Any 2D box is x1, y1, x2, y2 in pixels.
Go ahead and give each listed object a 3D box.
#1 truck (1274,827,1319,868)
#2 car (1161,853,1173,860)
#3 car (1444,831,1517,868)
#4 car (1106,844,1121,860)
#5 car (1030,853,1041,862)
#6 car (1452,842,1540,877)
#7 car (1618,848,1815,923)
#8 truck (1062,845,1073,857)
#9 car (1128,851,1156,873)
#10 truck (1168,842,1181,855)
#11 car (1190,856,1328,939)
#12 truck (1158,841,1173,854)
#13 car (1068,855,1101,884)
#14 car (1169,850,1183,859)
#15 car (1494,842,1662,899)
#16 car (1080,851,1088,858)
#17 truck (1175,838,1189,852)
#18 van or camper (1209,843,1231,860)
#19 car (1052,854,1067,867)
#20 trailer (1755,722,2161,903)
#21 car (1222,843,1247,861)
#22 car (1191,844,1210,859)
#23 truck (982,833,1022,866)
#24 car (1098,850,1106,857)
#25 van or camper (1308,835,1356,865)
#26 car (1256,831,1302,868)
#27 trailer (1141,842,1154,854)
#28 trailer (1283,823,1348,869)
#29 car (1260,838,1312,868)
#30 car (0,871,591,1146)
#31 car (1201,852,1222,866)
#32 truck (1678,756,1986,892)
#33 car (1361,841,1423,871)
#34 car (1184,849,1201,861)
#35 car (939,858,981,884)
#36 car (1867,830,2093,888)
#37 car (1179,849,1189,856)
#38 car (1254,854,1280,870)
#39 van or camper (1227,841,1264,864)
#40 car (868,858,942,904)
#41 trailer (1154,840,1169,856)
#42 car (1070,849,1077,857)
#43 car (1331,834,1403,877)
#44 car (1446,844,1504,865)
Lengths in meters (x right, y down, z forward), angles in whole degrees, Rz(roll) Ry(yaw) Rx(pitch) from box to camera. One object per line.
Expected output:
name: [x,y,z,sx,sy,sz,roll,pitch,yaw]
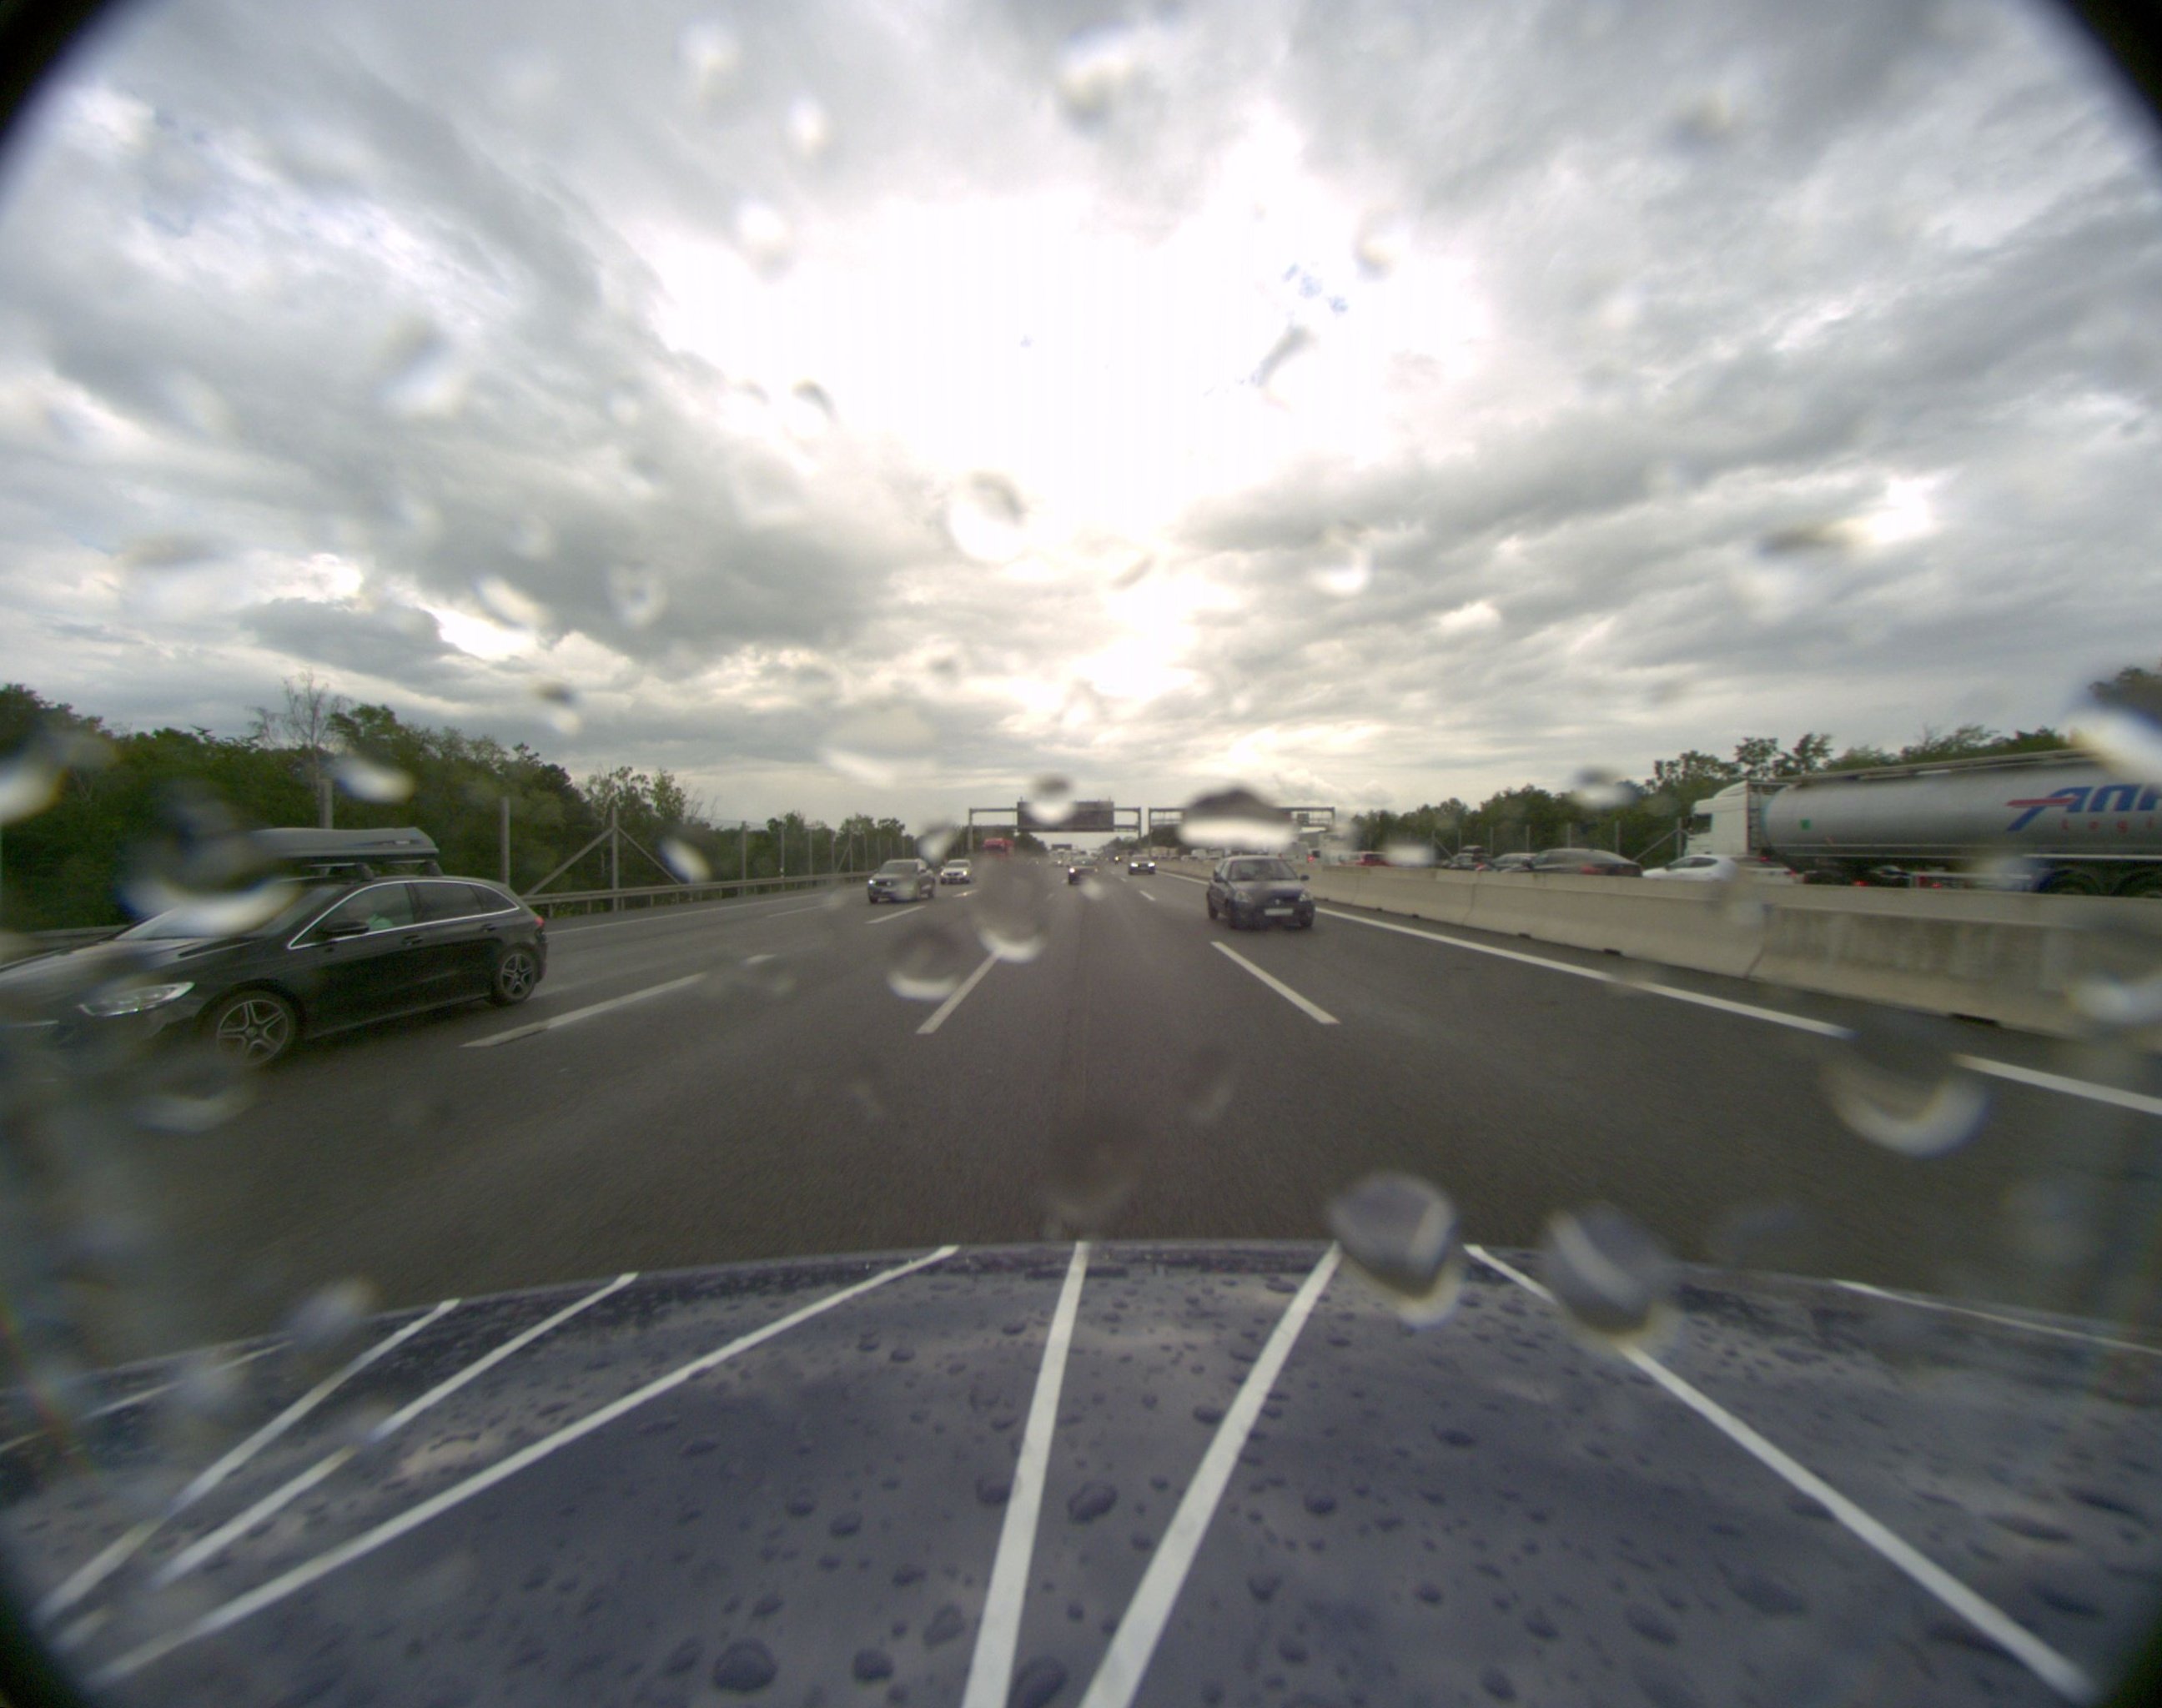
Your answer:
truck: [26.785,-0.727,94.830,3.155,4.828,8.026,-2,0,-1]
car: [16.324,0.498,144.854,1.707,1.383,4.505,-1,-1,-2]
car: [23.001,-0.244,43.914,2.100,1.957,4.000,-2,0,1]
car: [5.116,-0.317,120.804,1.999,2.354,4.171,-2,0,-1]
car: [-8.155,0.589,137.204,1.820,1.534,4.357,-2,0,-3]
car: [19.301,0.249,35.575,1.804,1.494,4.351,-1,0,1]
car: [18.750,0.860,22.811,1.730,1.957,5.043,-2,0,1]
truck: [-4.751,-1.133,264.366,3.256,3.883,12.310,-2,0,-4]
car: [4.508,0.581,56.329,1.751,1.489,4.015,-2,0,1]
truck: [28.112,-1.589,228.531,2.906,3.817,10.757,-1,-1,1]
car: [3.570,0.787,16.200,1.781,1.399,5.016,-2,1,0]
truck: [28.188,-2.124,254.096,2.655,3.997,17.747,-1,-1,0]
car: [0.237,0.803,41.274,1.668,1.431,4.405,-2,0,2]
car: [15.672,0.056,125.942,1.763,1.429,4.393,-2,0,0]
car: [14.481,0.422,22.554,1.769,1.475,4.972,-1,0,1]
car: [0.893,0.127,217.228,1.999,2.002,3.507,-2,0,-2]
truck: [26.792,-2.309,201.700,2.470,3.516,7.808,-1,-1,0]
van or camper: [23.947,-0.457,131.090,2.590,2.830,6.213,-1,-1,-2]
car: [-3.037,0.881,107.775,1.962,1.830,4.000,-1,0,0]
trailer: [22.344,-0.837,16.881,2.717,3.505,13.611,-2,0,1]
car: [22.953,-0.289,113.983,2.277,2.531,7.357,-2,0,0]
car: [20.073,-0.346,127.916,2.208,2.473,6.065,-1,-1,0]
truck: [-10.310,-0.480,100.736,3.160,3.979,15.638,-2,0,1]
car: [6.033,-0.214,217.859,1.998,1.790,4.899,-2,0,1]
van or camper: [19.289,-0.299,58.641,2.100,2.173,4.971,-2,0,1]
car: [19.035,-0.388,73.428,2.504,3.280,7.627,-2,0,1]
trailer: [23.374,-2.212,267.483,3.252,3.910,13.015,-2,0,0]
trailer: [26.860,-0.797,87.843,3.155,4.827,13.294,-2,0,-1]
car: [14.105,-0.052,52.592,2.100,1.957,5.631,-2,0,1]
car: [-7.331,1.019,7.146,2.110,1.596,5.066,-2,0,0]
car: [14.844,0.605,86.719,1.646,1.484,4.934,-2,0,1]
truck: [22.422,-0.778,23.372,2.735,3.493,6.800,-2,0,1]
car: [18.505,0.079,45.426,1.868,1.651,4.426,-2,0,1]
car: [15.340,0.155,104.478,1.762,1.489,4.394,-2,0,1]
car: [-7.443,1.034,47.077,1.898,1.438,4.245,-1,1,0]
car: [26.383,0.140,22.554,1.998,1.521,4.000,-1,0,1]
car: [22.767,-0.248,167.555,1.625,1.438,4.417,-1,-1,0]
car: [20.302,0.838,83.062,1.716,1.657,4.796,-2,0,1]
van or camper: [14.844,-0.148,69.069,1.998,2.002,6.346,-2,0,1]
car: [-6.540,0.955,28.615,1.796,1.553,3.722,-2,0,1]
trailer: [23.452,-1.690,222.096,3.195,4.169,11.957,-1,-1,0]
car: [-2.414,-0.342,237.876,2.037,2.587,4.513,-1,0,-2]
car: [14.367,0.054,38.479,1.868,1.957,4.805,-2,0,1]
car: [26.730,0.056,51.730,1.894,1.314,4.000,-2,0,1]
